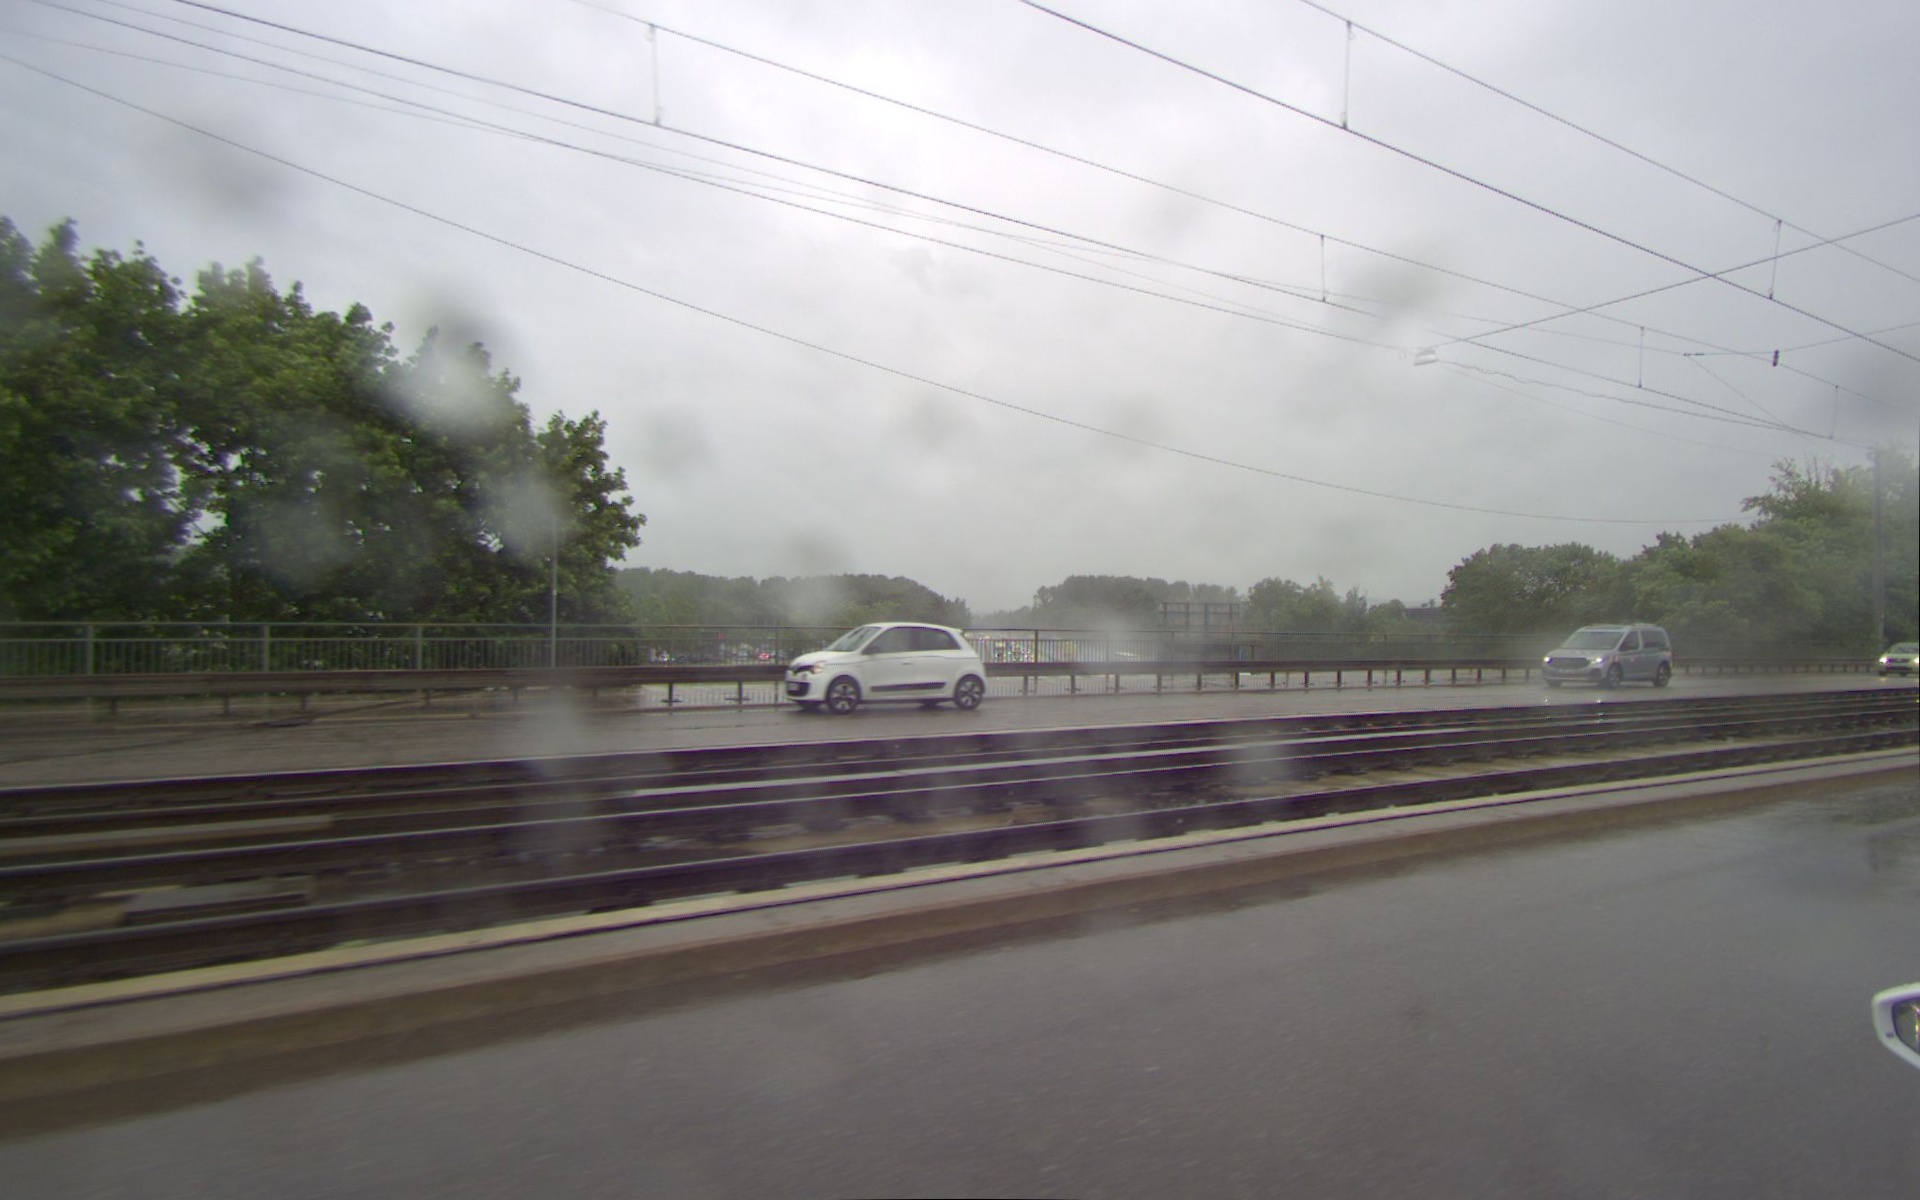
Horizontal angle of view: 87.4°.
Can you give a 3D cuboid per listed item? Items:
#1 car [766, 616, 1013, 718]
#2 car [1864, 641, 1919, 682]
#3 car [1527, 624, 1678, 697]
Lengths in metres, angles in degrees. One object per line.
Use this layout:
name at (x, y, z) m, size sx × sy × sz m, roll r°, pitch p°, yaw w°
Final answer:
car at (-1.239, 1.159, 18.019) m, size 3.953 × 1.638 × 1.984 m, roll 2°, pitch -2°, yaw -30°
car at (40.238, 2.593, 42.515) m, size 3.953 × 1.615 × 1.837 m, roll 2°, pitch -1°, yaw -30°
car at (18.641, 1.749, 29.102) m, size 4.343 × 1.856 × 1.839 m, roll 2°, pitch 2°, yaw -30°
